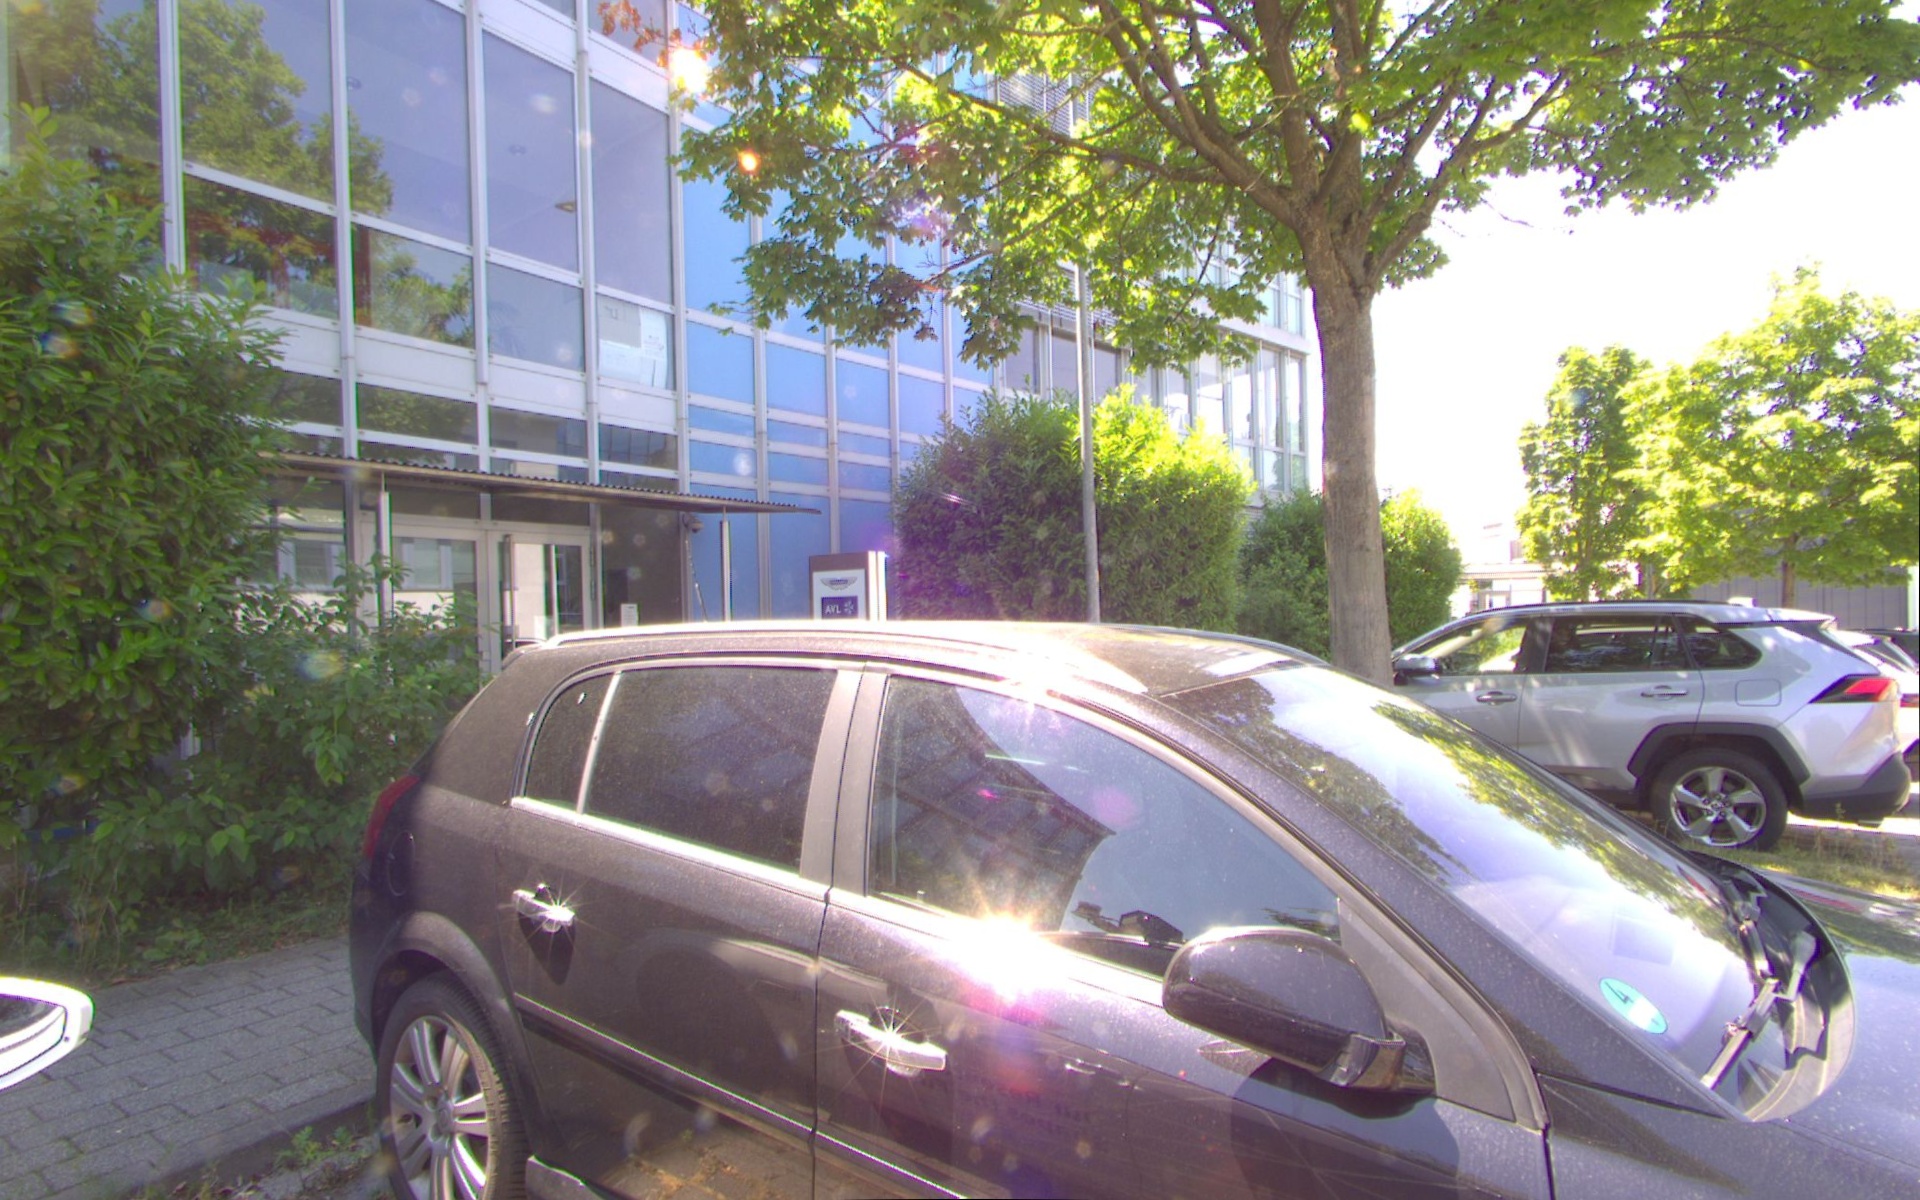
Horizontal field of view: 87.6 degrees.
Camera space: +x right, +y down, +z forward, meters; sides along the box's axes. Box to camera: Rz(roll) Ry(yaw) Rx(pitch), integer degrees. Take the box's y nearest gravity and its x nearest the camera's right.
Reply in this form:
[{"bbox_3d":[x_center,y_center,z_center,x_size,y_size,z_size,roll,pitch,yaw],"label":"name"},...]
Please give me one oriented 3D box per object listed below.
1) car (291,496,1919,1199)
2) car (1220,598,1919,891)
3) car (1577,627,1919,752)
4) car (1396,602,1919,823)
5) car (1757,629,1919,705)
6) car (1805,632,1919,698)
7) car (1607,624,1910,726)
[{"bbox_3d":[0.492,0.739,2.109,4.506,1.569,1.753,-1,-2,37],"label":"car"},{"bbox_3d":[4.416,0.844,7.738,4.278,1.664,1.844,0,-1,39],"label":"car"},{"bbox_3d":[11.453,1.181,14.392,1.645,1.505,4.136,2,-1,-44],"label":"car"},{"bbox_3d":[6.491,0.880,9.349,4.151,1.664,1.649,0,-1,39],"label":"car"},{"bbox_3d":[20.245,1.464,22.329,1.614,1.545,3.567,1,-1,-34],"label":"car"},{"bbox_3d":[22.314,1.526,23.445,1.614,1.462,3.567,1,-1,-34],"label":"car"},{"bbox_3d":[14.716,1.295,18.662,1.641,1.626,4.146,1,-1,-37],"label":"car"}]
